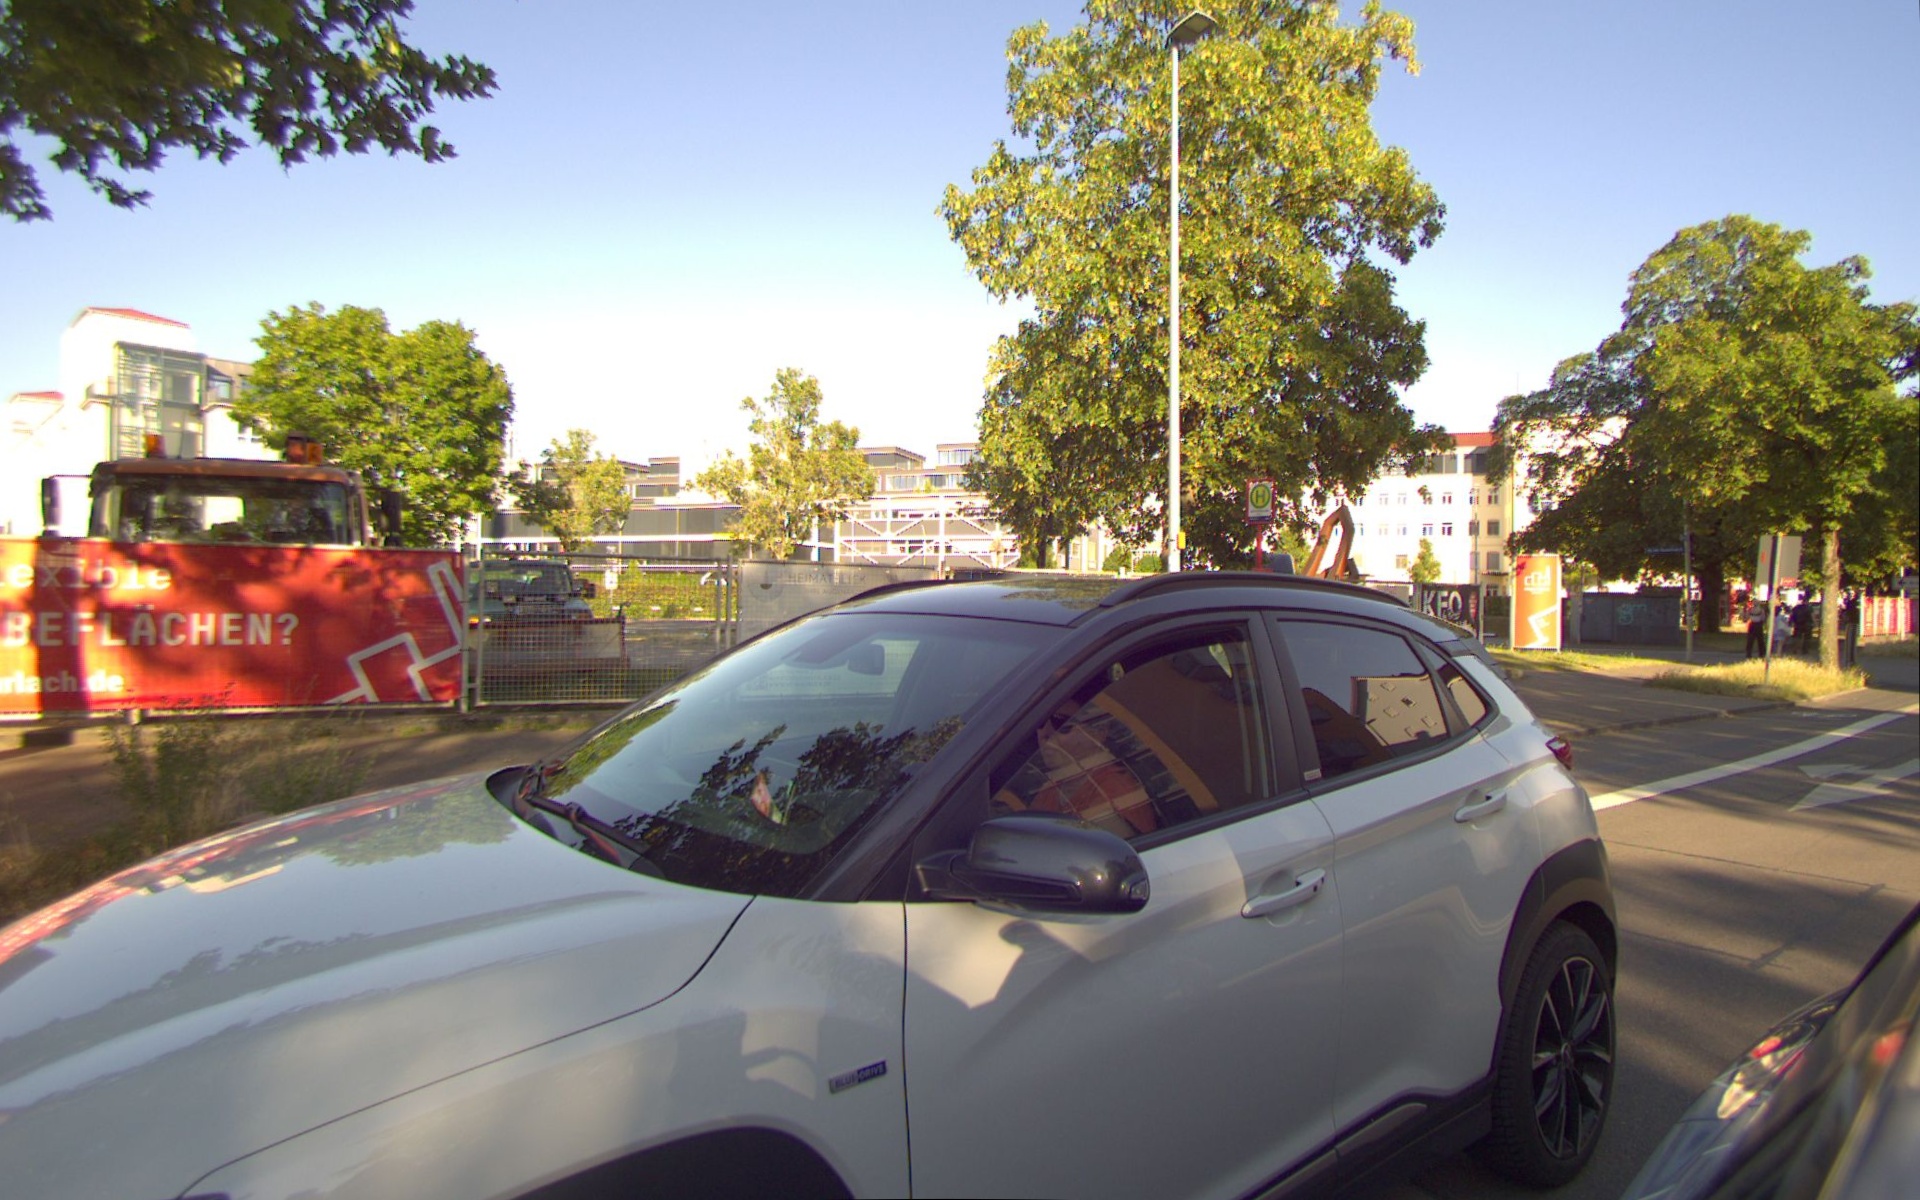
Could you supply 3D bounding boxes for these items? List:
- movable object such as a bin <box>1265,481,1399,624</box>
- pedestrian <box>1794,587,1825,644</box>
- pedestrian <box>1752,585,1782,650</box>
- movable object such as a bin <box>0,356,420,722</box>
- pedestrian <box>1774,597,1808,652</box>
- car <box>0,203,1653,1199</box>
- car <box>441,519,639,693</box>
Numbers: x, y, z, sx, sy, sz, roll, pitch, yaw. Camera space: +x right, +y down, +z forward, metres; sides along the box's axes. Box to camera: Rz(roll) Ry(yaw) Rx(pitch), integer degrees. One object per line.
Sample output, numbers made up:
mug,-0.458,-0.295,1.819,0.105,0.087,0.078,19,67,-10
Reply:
movable object such as a bin,15.521,-1.883,42.759,3.910,5.547,6.022,0,0,6
pedestrian,25.649,0.465,30.562,0.692,1.689,0.630,0,0,38
pedestrian,22.367,0.471,28.043,0.607,1.759,0.629,0,0,44
movable object such as a bin,-8.395,-0.549,12.054,3.154,3.087,6.295,0,0,-31
pedestrian,22.310,0.640,27.178,0.627,1.452,0.609,0,0,-40
car,-0.048,0.568,2.505,3.893,1.618,1.894,3,-2,-39
car,-5.671,0.043,13.292,2.001,1.851,4.612,0,0,-28
